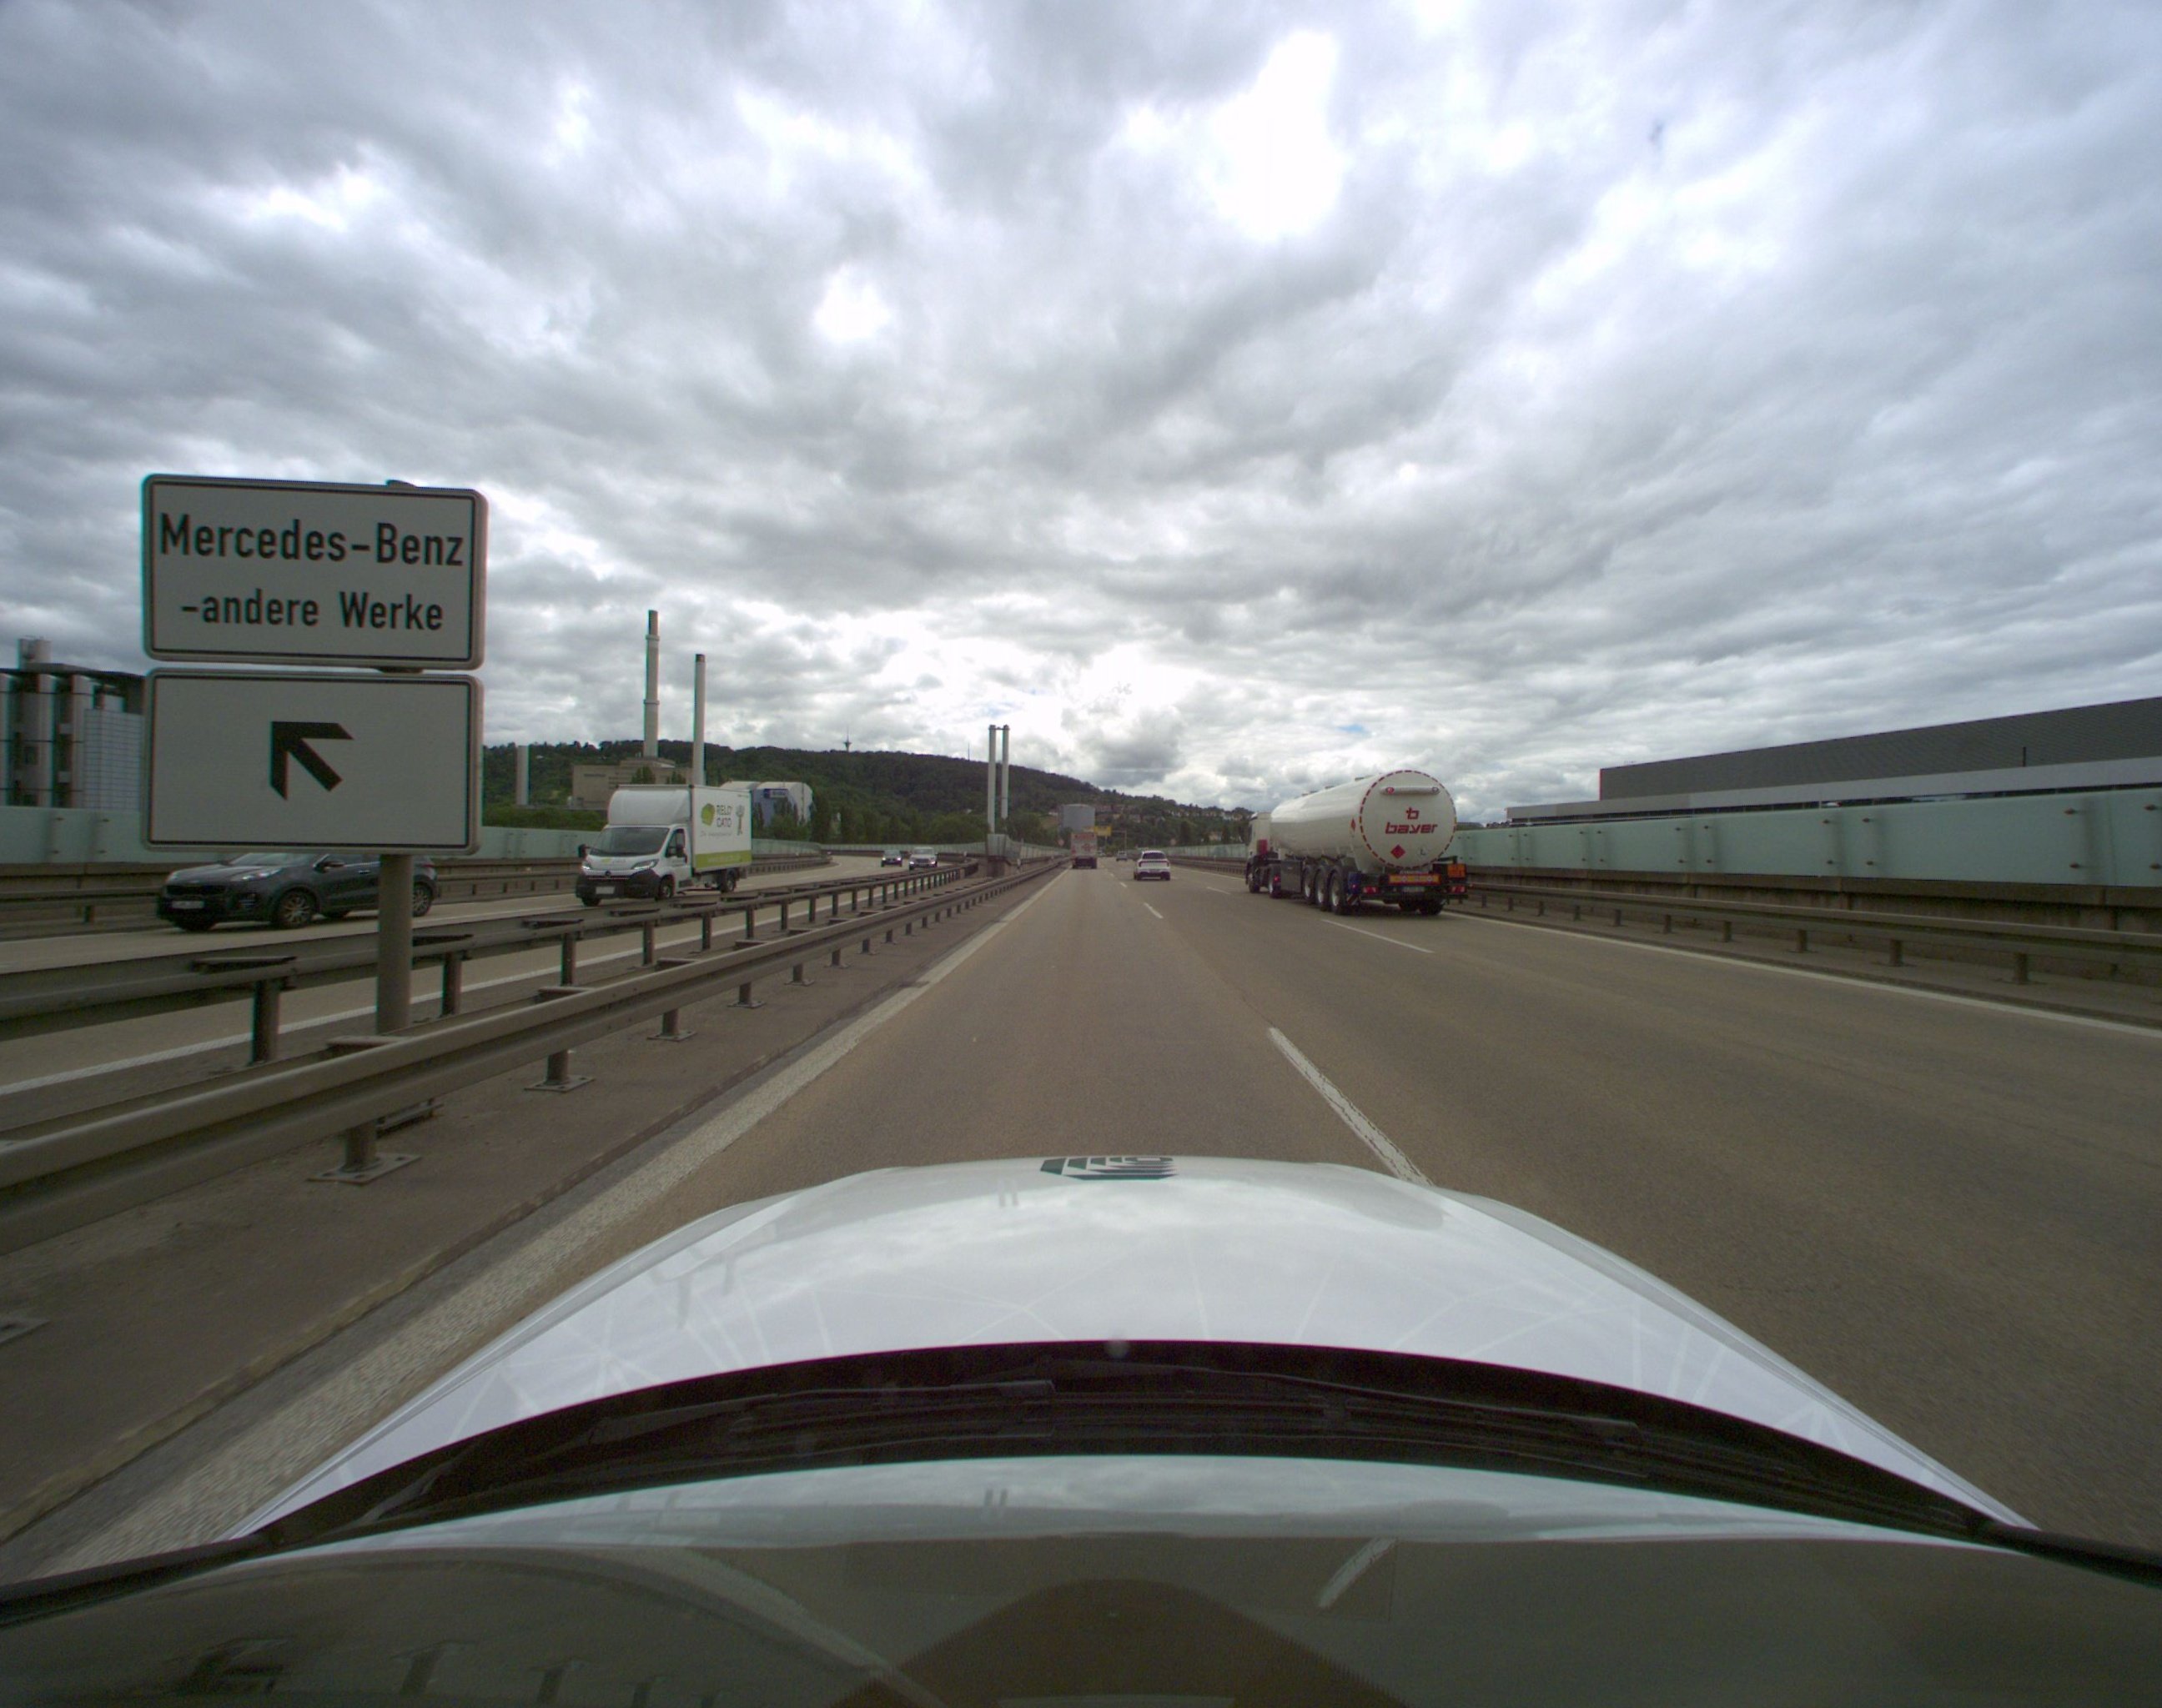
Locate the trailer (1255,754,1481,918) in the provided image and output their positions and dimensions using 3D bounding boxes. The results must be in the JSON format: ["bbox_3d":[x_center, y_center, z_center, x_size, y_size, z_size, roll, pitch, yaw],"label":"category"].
[{"bbox_3d":[7.415,-0.373,23.254,2.641,3.543,11.221,0,0,1],"label":"trailer"}]

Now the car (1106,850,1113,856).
[{"bbox_3d":[8.311,-0.224,240.015,1.917,1.785,4.114,0,0,1],"label":"car"}]

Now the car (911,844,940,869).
[{"bbox_3d":[-11.036,0.167,57.896,1.844,1.673,4.395,0,0,-8],"label":"car"}]

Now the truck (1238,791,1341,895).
[{"bbox_3d":[7.520,-0.376,29.994,2.622,3.514,4.904,0,0,1],"label":"truck"}]

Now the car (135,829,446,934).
[{"bbox_3d":[-14.884,0.434,15.767,1.749,1.748,4.368,0,1,-1],"label":"car"}]

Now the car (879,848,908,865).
[{"bbox_3d":[-16.399,0.224,71.326,1.756,1.431,4.391,0,0,-3],"label":"car"}]

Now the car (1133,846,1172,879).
[{"bbox_3d":[4.023,0.456,46.381,1.917,1.785,4.114,0,0,1],"label":"car"}]

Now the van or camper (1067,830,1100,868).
[{"bbox_3d":[0.351,-0.479,80.717,3.111,3.579,8.551,0,0,1],"label":"van or camper"}]

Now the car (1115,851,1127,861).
[{"bbox_3d":[6.918,0.301,140.348,1.916,1.785,4.117,0,0,3],"label":"car"}]

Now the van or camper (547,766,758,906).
[{"bbox_3d":[-11.763,-0.433,23.217,2.398,3.387,6.951,0,0,-1],"label":"van or camper"}]
